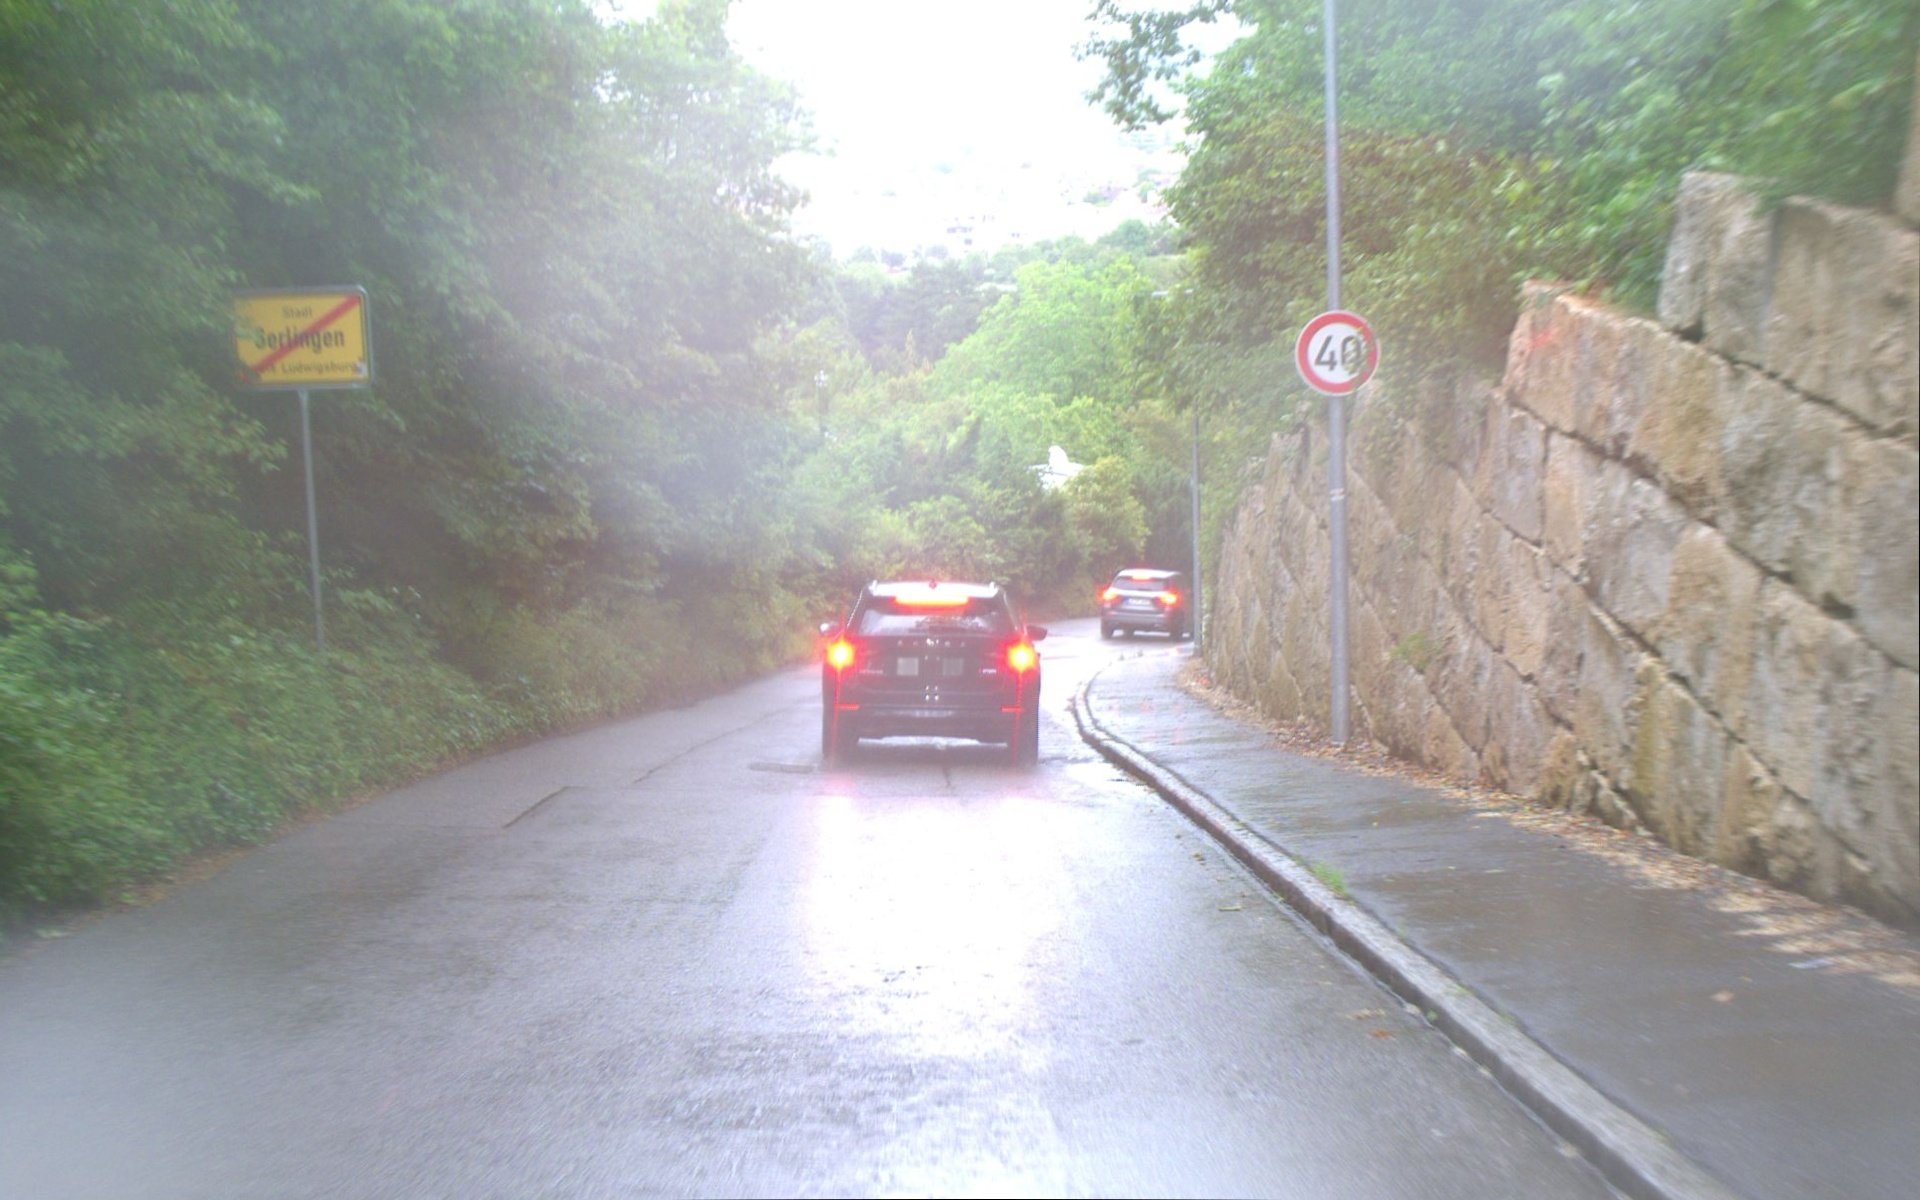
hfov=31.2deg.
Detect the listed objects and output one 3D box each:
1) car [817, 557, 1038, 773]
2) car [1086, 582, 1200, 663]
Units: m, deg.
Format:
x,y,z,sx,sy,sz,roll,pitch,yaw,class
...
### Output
x,y,z,sx,sy,sz,roll,pitch,yaw,class
-0.331,0.482,28.796,1.699,1.445,4.001,-1,4,-2,car
4.139,0.495,77.400,1.864,1.737,3.997,1,0,13,car
